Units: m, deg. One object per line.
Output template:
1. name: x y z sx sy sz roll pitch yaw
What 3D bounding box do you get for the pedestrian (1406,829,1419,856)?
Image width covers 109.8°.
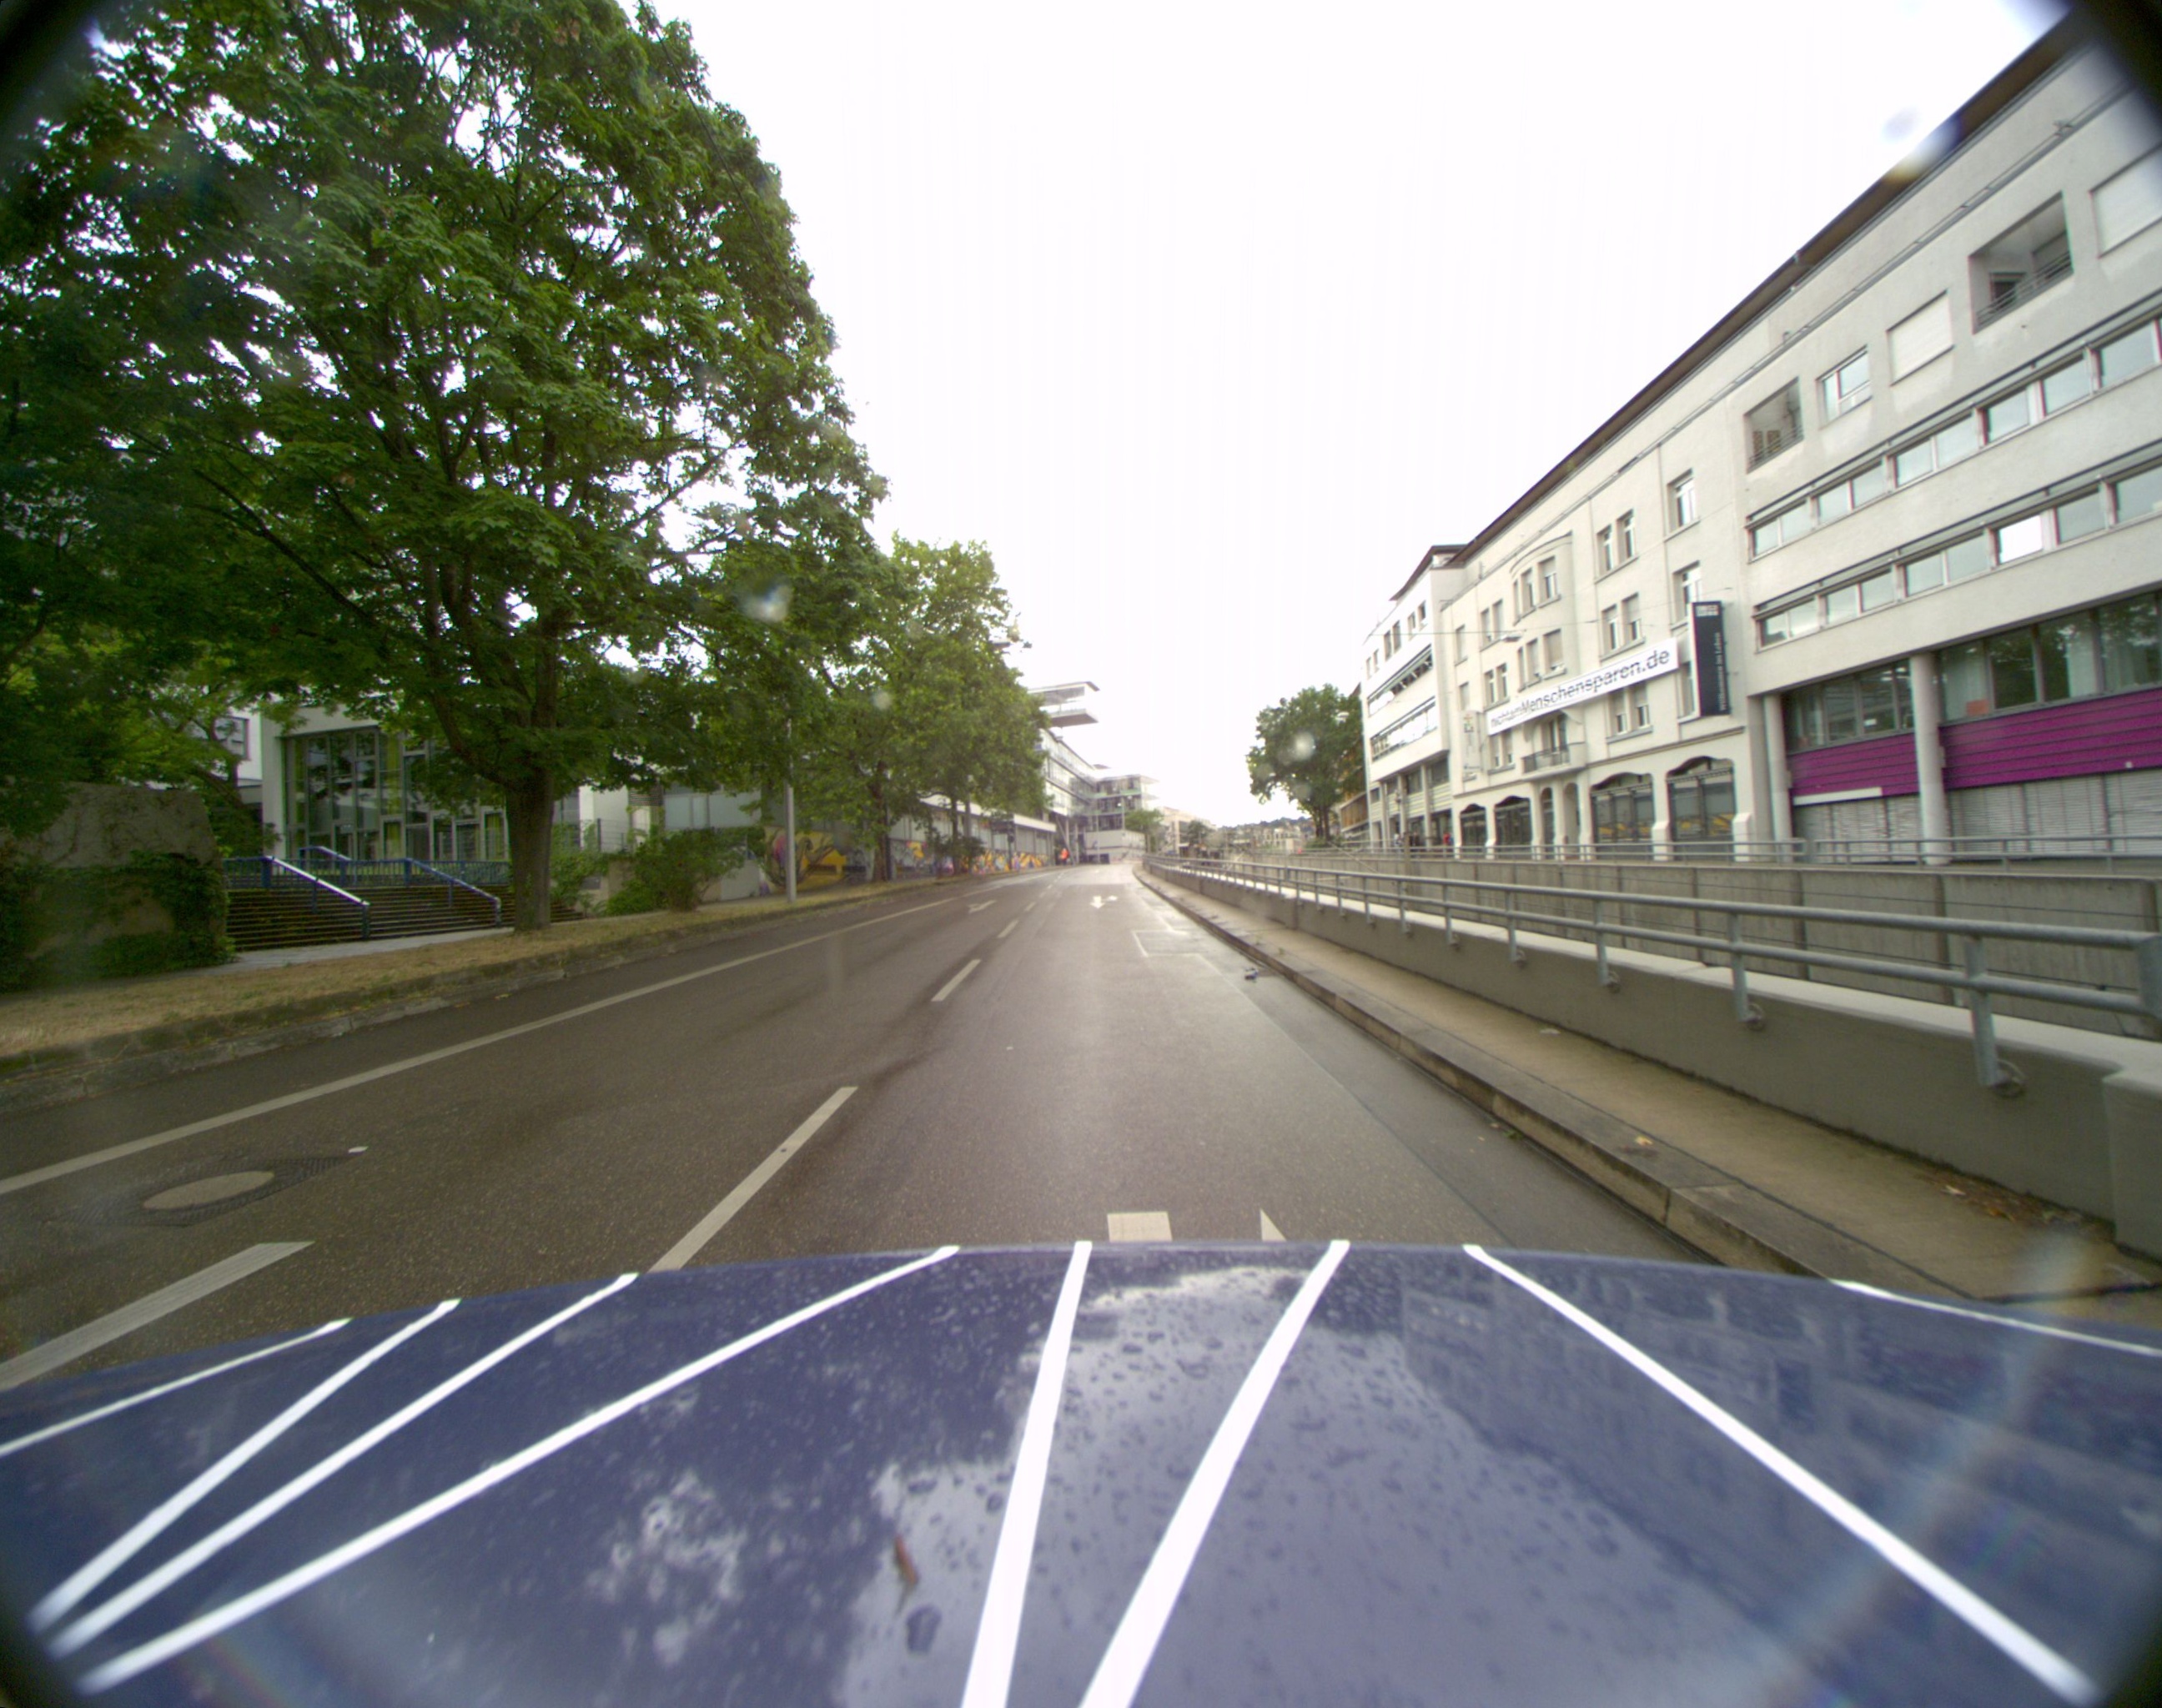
1. pedestrian: 22.480 -0.784 51.574 0.547 1.792 0.470 -4 1 -7

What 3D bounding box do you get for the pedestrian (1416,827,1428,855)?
1. pedestrian: 22.571 -0.859 50.312 0.470 1.792 0.547 -4 1 3

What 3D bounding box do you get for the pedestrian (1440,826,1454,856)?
1. pedestrian: 22.825 -0.803 47.372 0.470 1.792 0.547 -4 1 0

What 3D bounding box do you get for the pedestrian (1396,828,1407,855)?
1. pedestrian: 21.700 -0.812 51.391 0.469 1.792 0.548 -4 1 8

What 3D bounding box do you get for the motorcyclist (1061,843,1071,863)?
1. motorcyclist: -1.504 -0.071 78.572 0.754 2.002 1.002 -4 1 9
